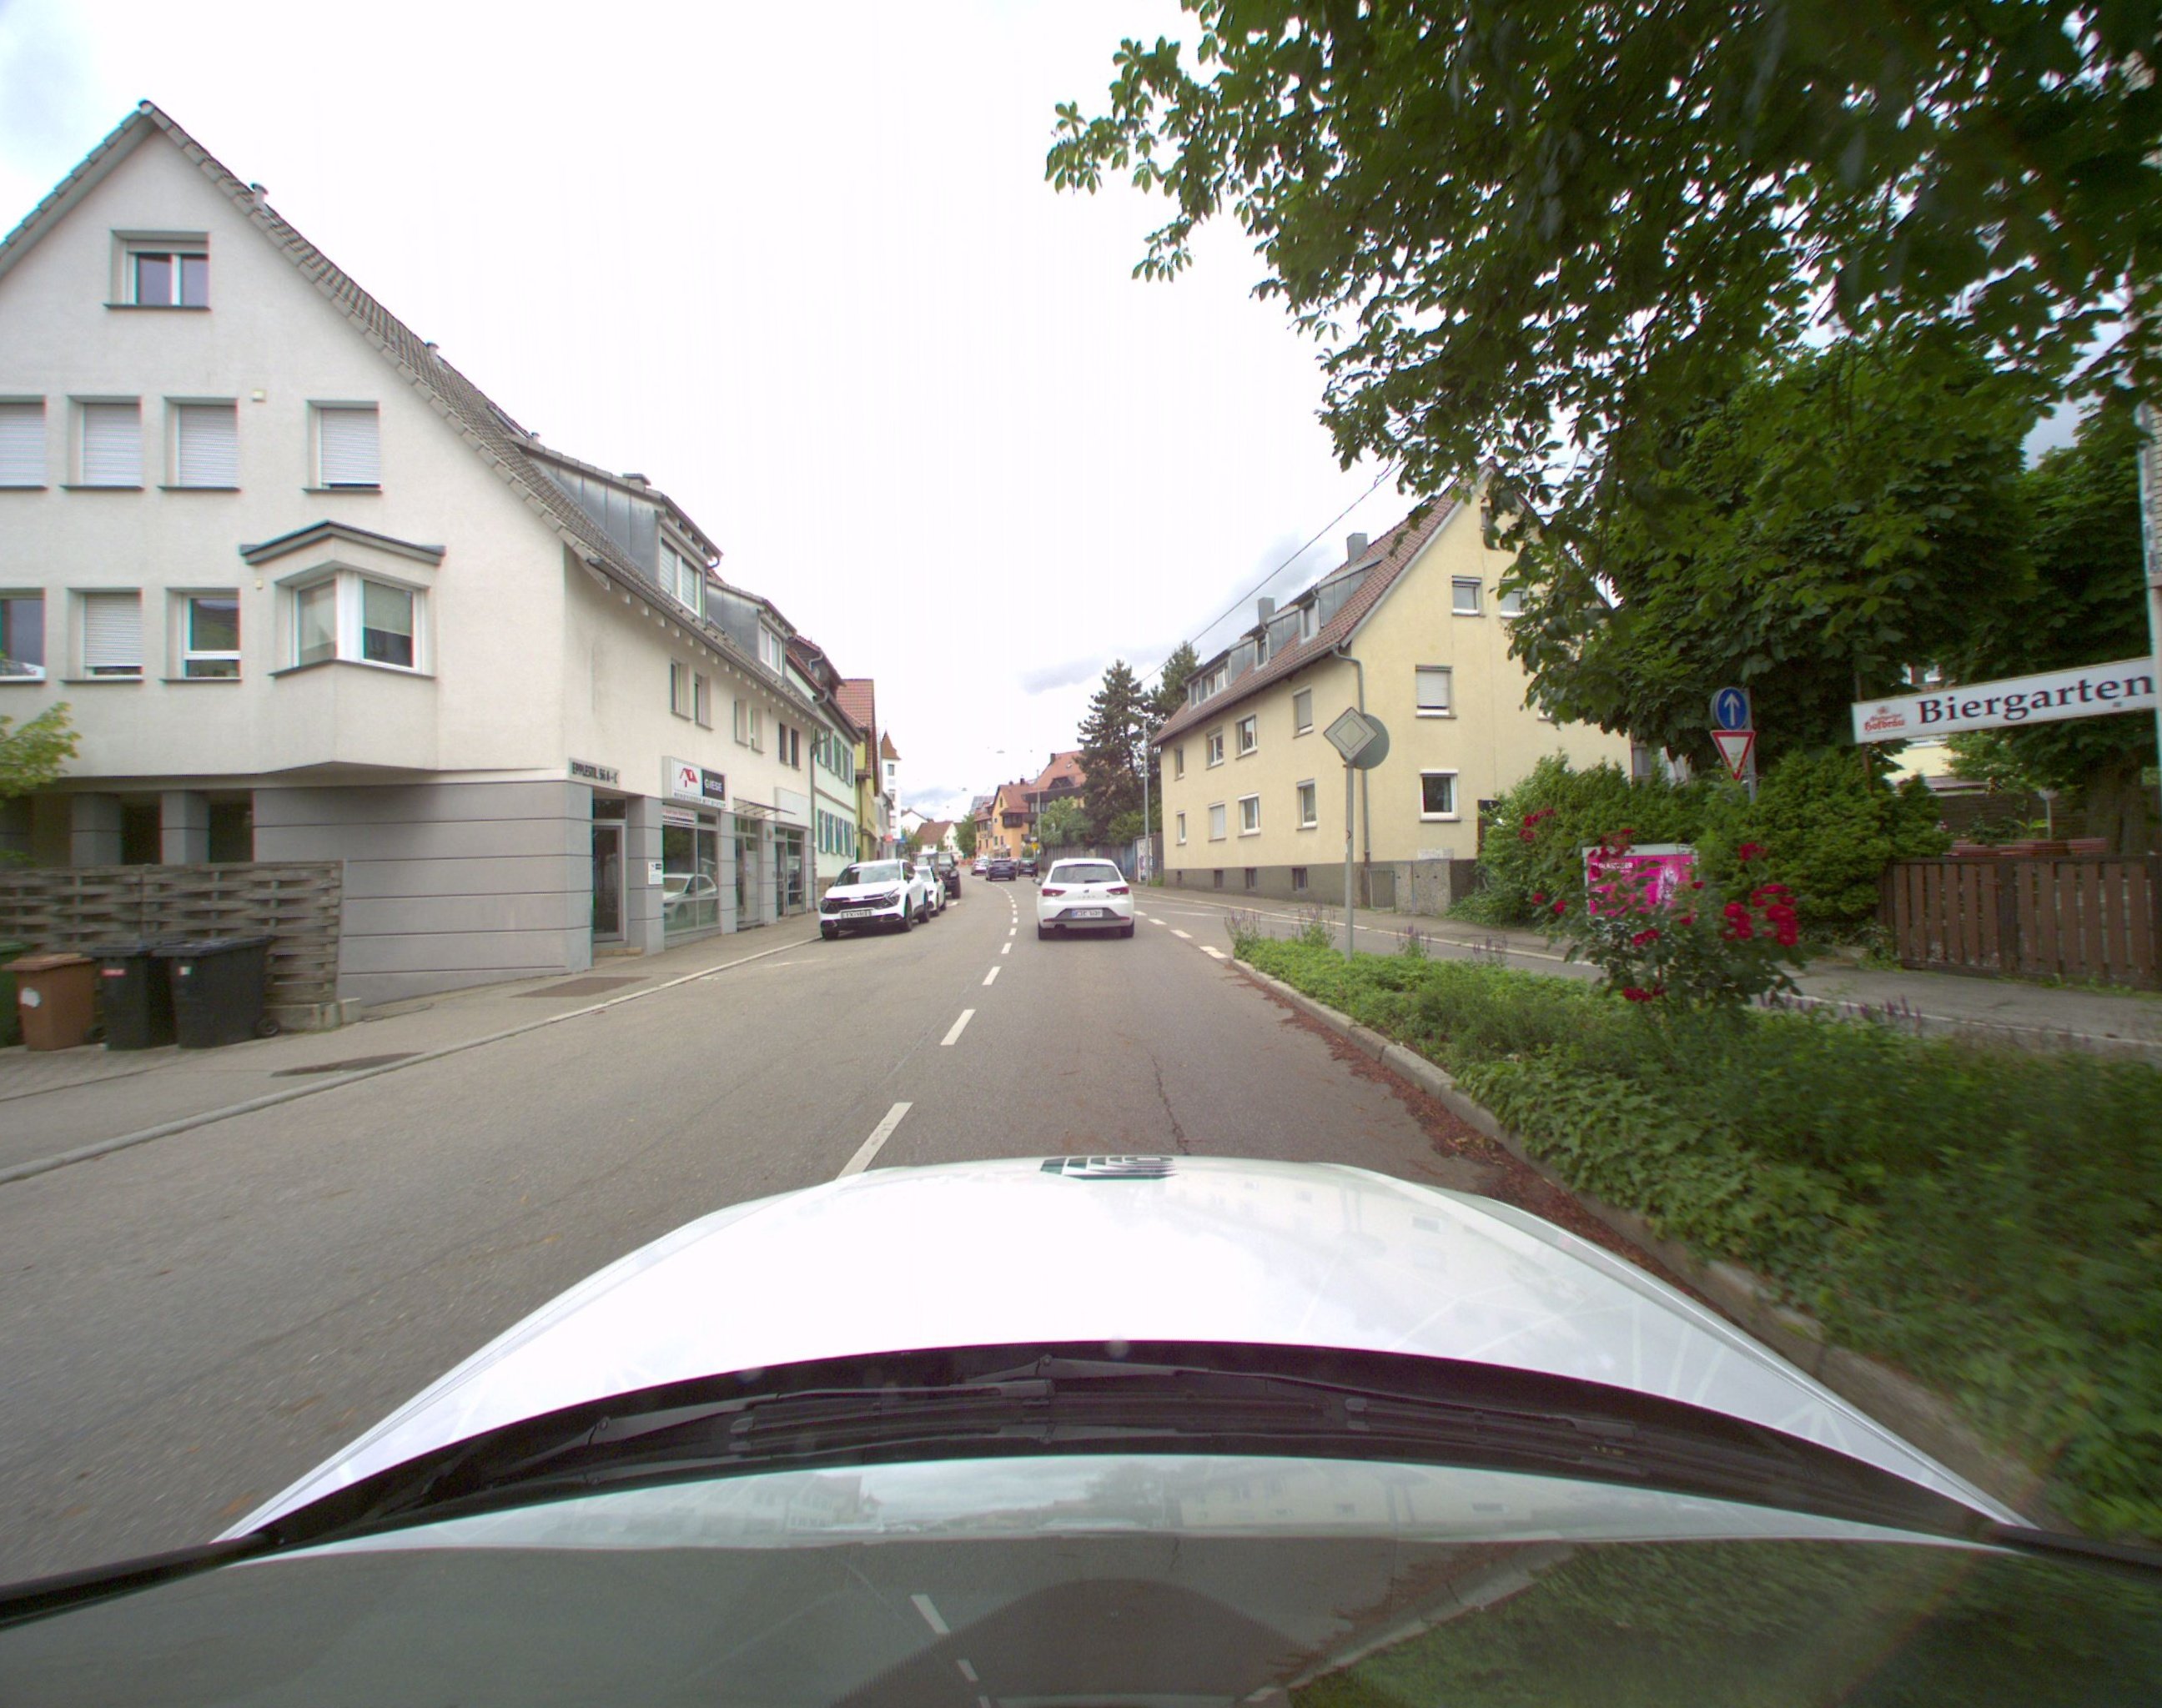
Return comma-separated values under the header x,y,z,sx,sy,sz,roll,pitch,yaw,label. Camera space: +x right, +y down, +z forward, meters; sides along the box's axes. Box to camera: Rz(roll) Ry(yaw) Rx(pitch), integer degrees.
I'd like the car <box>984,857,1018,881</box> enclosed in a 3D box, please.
x,y,z,sx,sy,sz,roll,pitch,yaw,label
-5.200,0.954,52.759,1.760,1.452,3.984,-1,0,-12,car

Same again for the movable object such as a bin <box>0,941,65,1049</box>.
x,y,z,sx,sy,sz,roll,pitch,yaw,label
-11.143,1.452,8.236,0.663,1.018,0.796,-2,1,1,movable object such as a bin

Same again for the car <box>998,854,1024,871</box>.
x,y,z,sx,sy,sz,roll,pitch,yaw,label
-6.519,0.785,75.244,1.761,1.452,3.981,-1,0,-14,car

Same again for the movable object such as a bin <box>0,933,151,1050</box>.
x,y,z,sx,sy,sz,roll,pitch,yaw,label
-10.270,1.368,8.273,0.663,1.018,0.796,-2,1,1,movable object such as a bin

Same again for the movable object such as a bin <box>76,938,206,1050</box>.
x,y,z,sx,sy,sz,roll,pitch,yaw,label
-9.261,1.363,8.047,0.531,0.971,0.636,0,1,5,movable object such as a bin

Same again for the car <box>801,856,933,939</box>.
x,y,z,sx,sy,sz,roll,pitch,yaw,label
-4.806,0.896,19.048,1.993,1.633,4.853,-1,0,-3,car

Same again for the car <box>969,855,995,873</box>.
x,y,z,sx,sy,sz,roll,pitch,yaw,label
-8.456,0.822,69.073,1.760,1.452,3.982,-1,0,-13,car

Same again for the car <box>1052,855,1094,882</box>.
x,y,z,sx,sy,sz,roll,pitch,yaw,label
-0.488,0.791,45.187,1.758,1.452,3.986,1,0,-10,car

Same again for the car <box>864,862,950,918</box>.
x,y,z,sx,sy,sz,roll,pitch,yaw,label
-5.040,1.000,24.092,1.995,1.436,3.912,-1,0,-5,car

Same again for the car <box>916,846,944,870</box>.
x,y,z,sx,sy,sz,roll,pitch,yaw,label
-18.053,0.457,97.810,2.144,2.687,5.547,0,0,2,car

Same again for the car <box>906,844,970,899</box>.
x,y,z,sx,sy,sz,roll,pitch,yaw,label
-5.889,0.658,34.049,1.990,2.013,4.664,-4,1,-4,car

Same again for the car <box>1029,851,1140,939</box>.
x,y,z,sx,sy,sz,roll,pitch,yaw,label
-0.059,0.702,15.911,1.756,1.452,3.992,-1,0,-6,car

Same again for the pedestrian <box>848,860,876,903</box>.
x,y,z,sx,sy,sz,roll,pitch,yaw,label
-7.824,0.973,29.125,0.805,1.500,0.974,0,-1,-6,pedestrian

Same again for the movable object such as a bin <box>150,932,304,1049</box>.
x,y,z,sx,sy,sz,roll,pitch,yaw,label
-8.637,1.361,8.272,0.663,1.018,0.796,-2,1,1,movable object such as a bin

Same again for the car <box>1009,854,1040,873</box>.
x,y,z,sx,sy,sz,roll,pitch,yaw,label
-4.473,0.730,63.975,1.761,1.452,3.981,-1,0,-14,car
